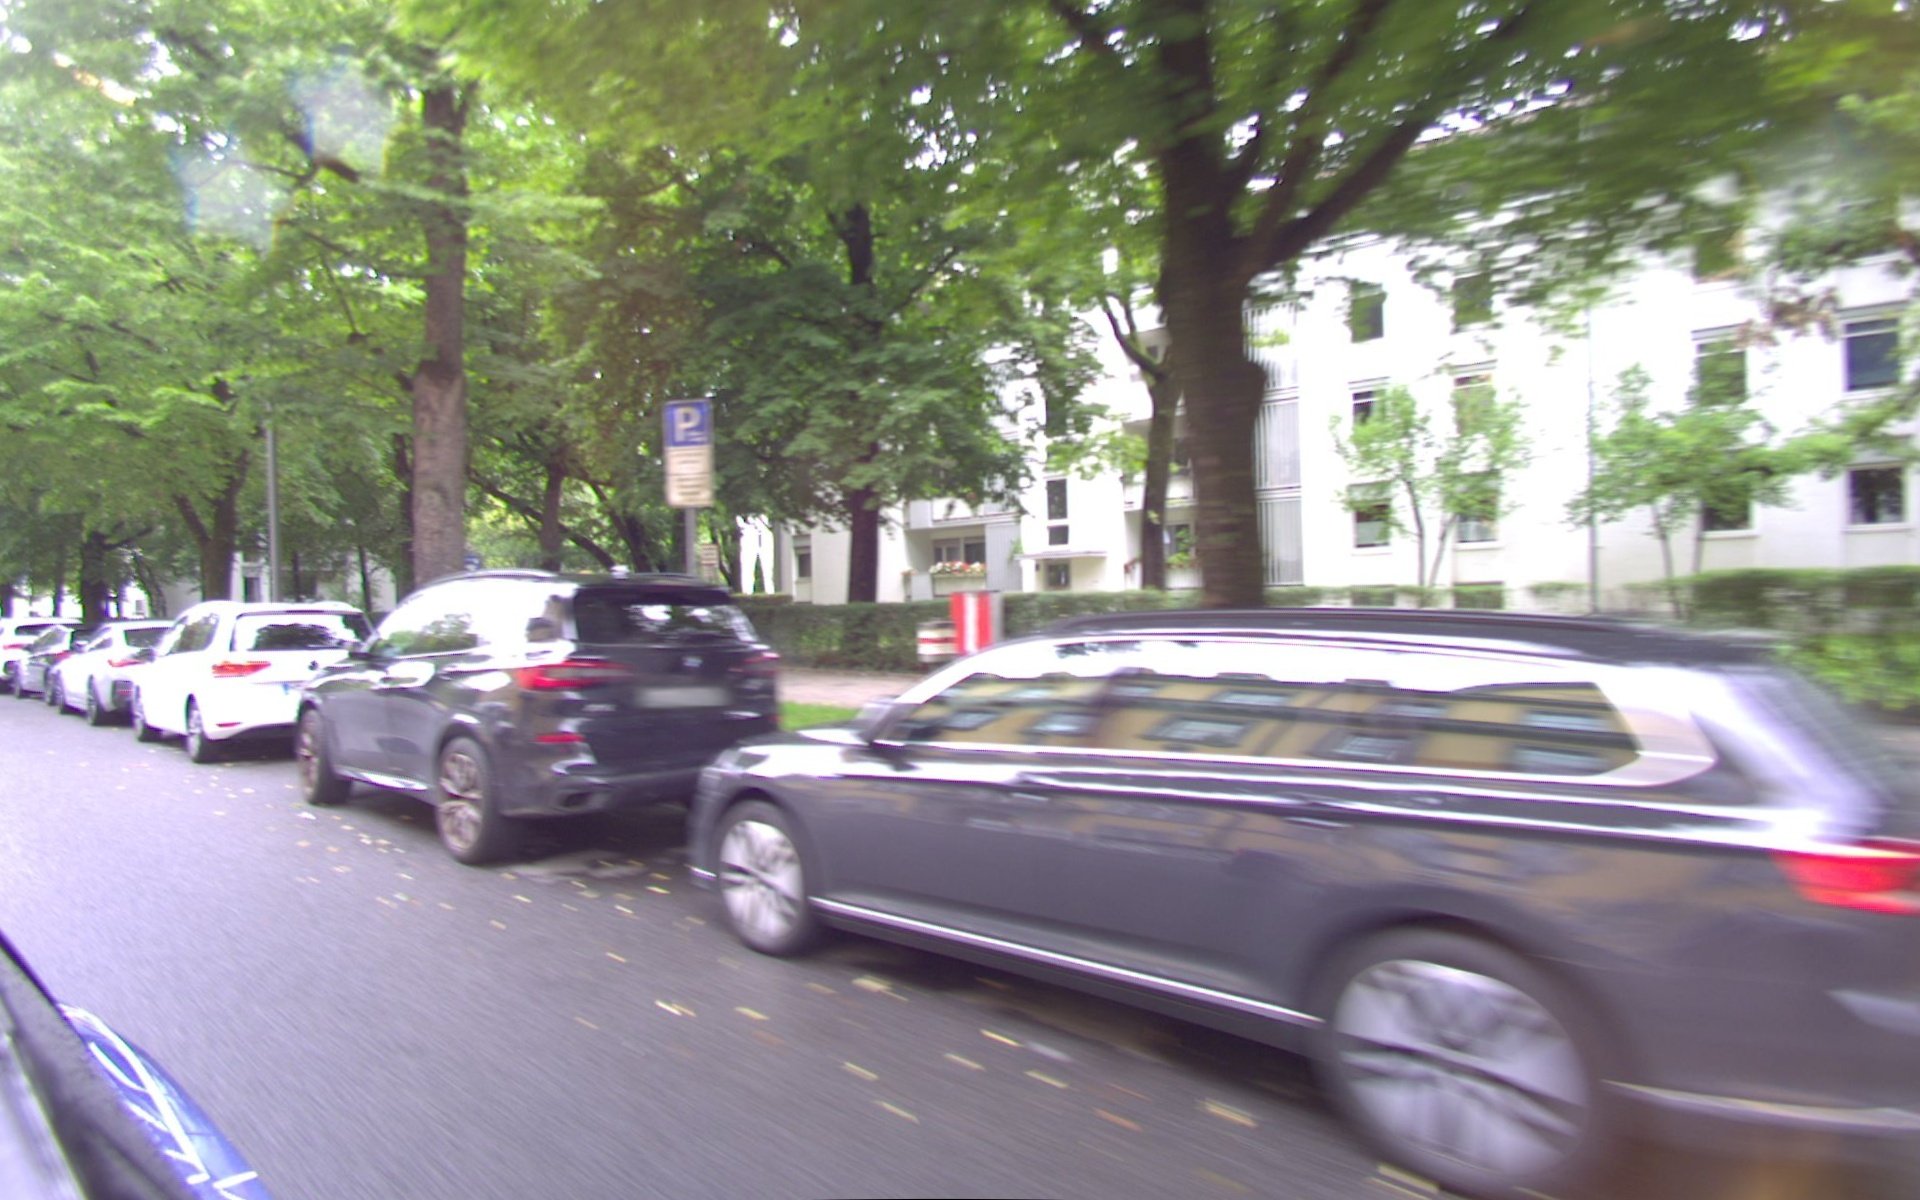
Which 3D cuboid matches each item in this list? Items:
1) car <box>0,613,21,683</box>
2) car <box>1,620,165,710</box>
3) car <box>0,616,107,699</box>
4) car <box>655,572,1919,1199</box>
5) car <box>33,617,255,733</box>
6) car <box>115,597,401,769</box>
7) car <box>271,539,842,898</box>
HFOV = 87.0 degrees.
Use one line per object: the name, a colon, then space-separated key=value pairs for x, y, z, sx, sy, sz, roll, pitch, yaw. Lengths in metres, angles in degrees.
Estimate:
car: x=-28.003 y=1.337 z=28.429 sx=4.543 sy=1.891 sz=1.766 roll=-1 pitch=-2 yaw=39
car: x=-16.686 y=1.150 z=19.194 sx=4.099 sy=1.480 sz=1.656 roll=-1 pitch=0 yaw=39
car: x=-20.443 y=1.180 z=22.230 sx=4.579 sy=1.609 sz=1.766 roll=-1 pitch=0 yaw=39
car: x=0.899 y=0.693 z=3.774 sx=4.694 sy=1.462 sz=1.700 roll=-1 pitch=0 yaw=42
car: x=-12.722 y=1.033 z=15.656 sx=4.994 sy=1.480 sz=1.791 roll=-1 pitch=0 yaw=41
car: x=-8.291 y=0.839 z=11.786 sx=4.522 sy=1.634 sz=1.746 roll=-1 pitch=-2 yaw=42
car: x=-3.248 y=0.640 z=7.507 sx=4.919 sy=1.810 sz=1.972 roll=-1 pitch=-1 yaw=42
